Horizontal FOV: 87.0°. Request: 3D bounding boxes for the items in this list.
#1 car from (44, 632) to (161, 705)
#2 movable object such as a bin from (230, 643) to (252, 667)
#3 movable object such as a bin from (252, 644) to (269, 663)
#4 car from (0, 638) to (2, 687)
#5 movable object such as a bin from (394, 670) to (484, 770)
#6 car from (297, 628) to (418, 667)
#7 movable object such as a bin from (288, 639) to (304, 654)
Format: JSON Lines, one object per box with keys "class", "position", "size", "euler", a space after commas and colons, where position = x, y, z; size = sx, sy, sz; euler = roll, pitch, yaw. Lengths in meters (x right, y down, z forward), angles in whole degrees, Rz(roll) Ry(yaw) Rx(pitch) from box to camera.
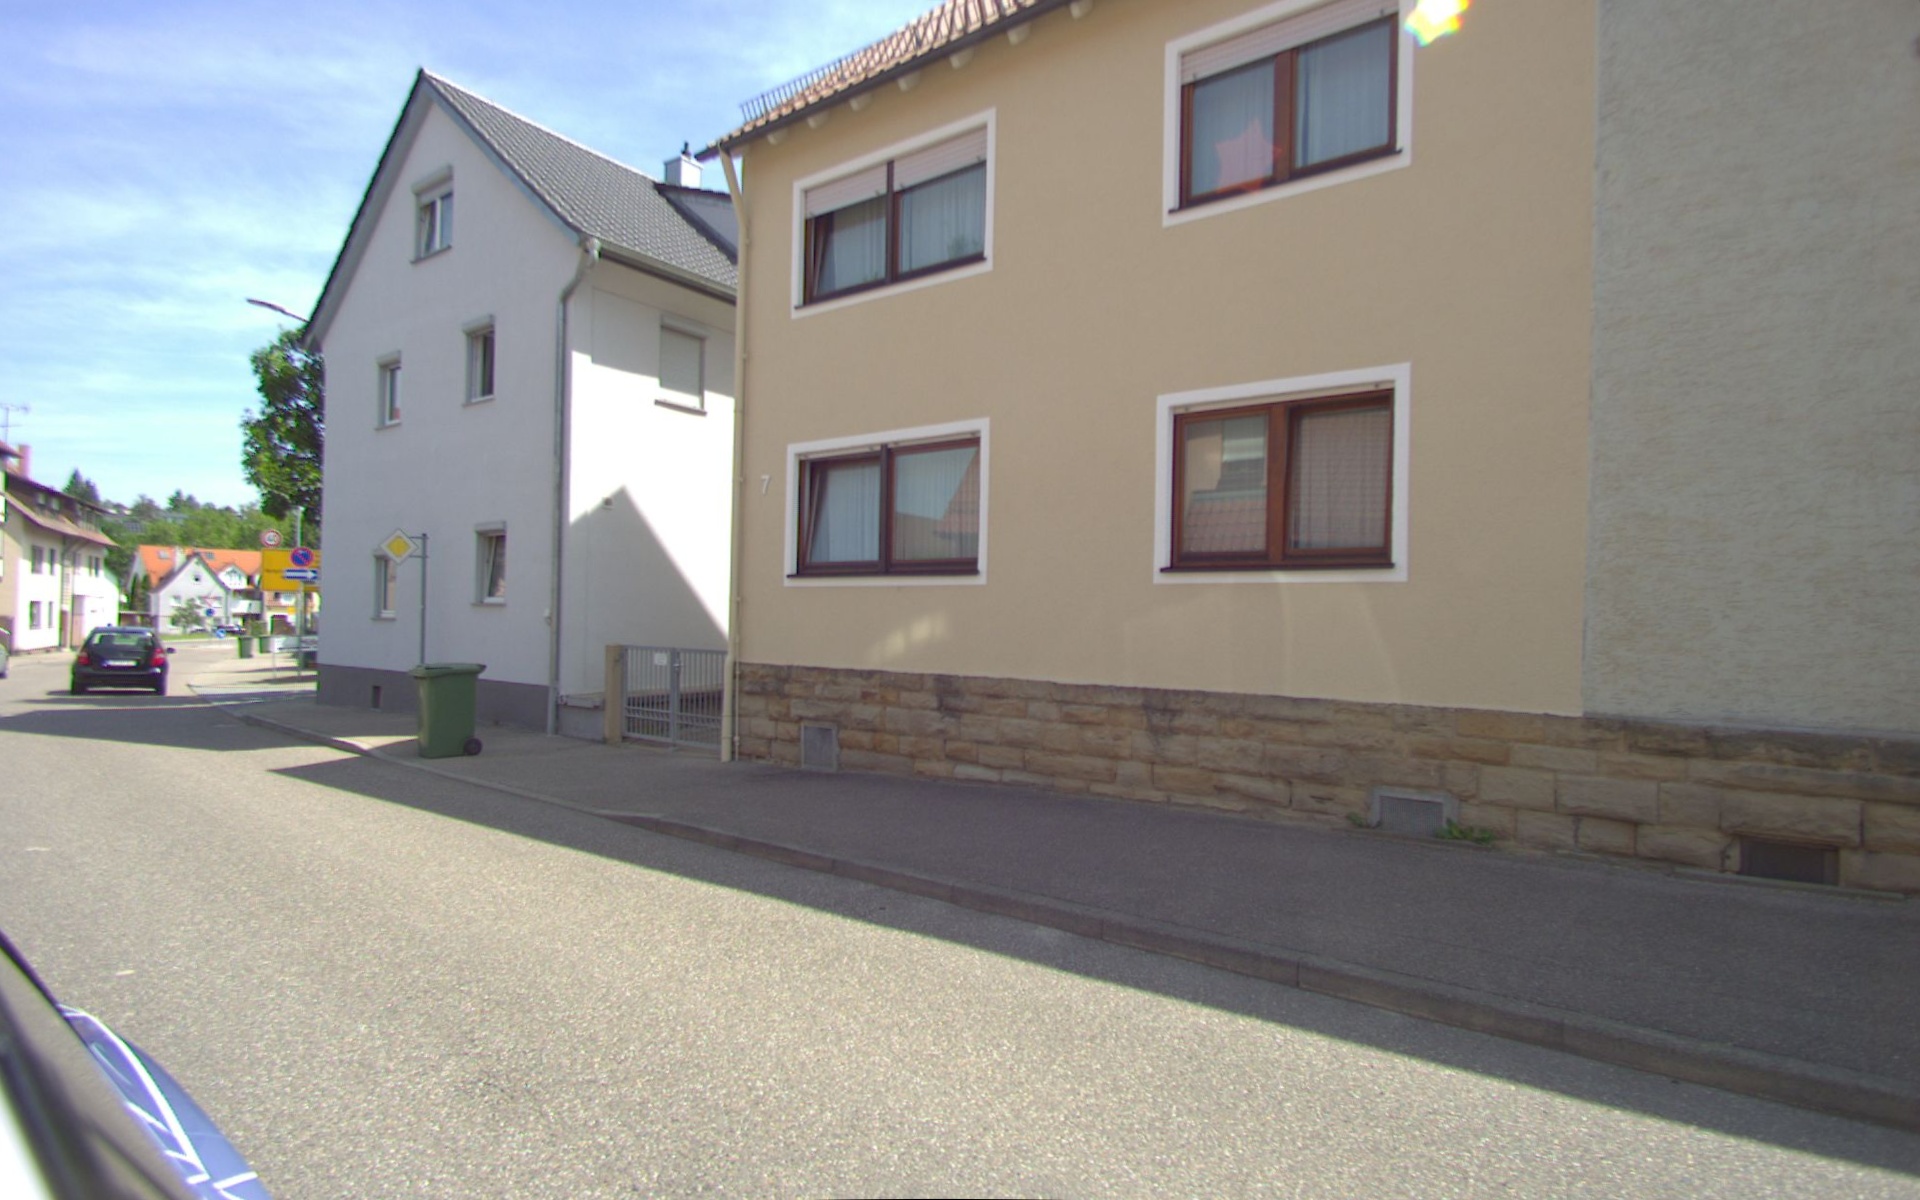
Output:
{"class": "car", "position": [-20.267, 1.580, 24.082], "size": [1.776, 1.567, 4.080], "euler": [3, -3, -36]}
{"class": "movable object such as a bin", "position": [-34.240, 2.623, 48.212], "size": [0.814, 1.085, 0.820], "euler": [0, -2, -32]}
{"class": "movable object such as a bin", "position": [-39.883, 3.036, 57.704], "size": [0.781, 1.065, 0.652], "euler": [2, -3, -36]}
{"class": "car", "position": [-28.332, 1.816, 28.283], "size": [1.762, 1.453, 4.346], "euler": [0, -2, -37]}
{"class": "movable object such as a bin", "position": [-6.029, 1.366, 11.715], "size": [0.680, 1.068, 0.745], "euler": [-2, -3, 44]}
{"class": "car", "position": [-27.184, 2.093, 45.734], "size": [2.001, 1.635, 4.351], "euler": [-1, -2, 44]}
{"class": "movable object such as a bin", "position": [-47.625, 3.365, 72.605], "size": [0.797, 1.053, 0.829], "euler": [0, -2, -22]}
